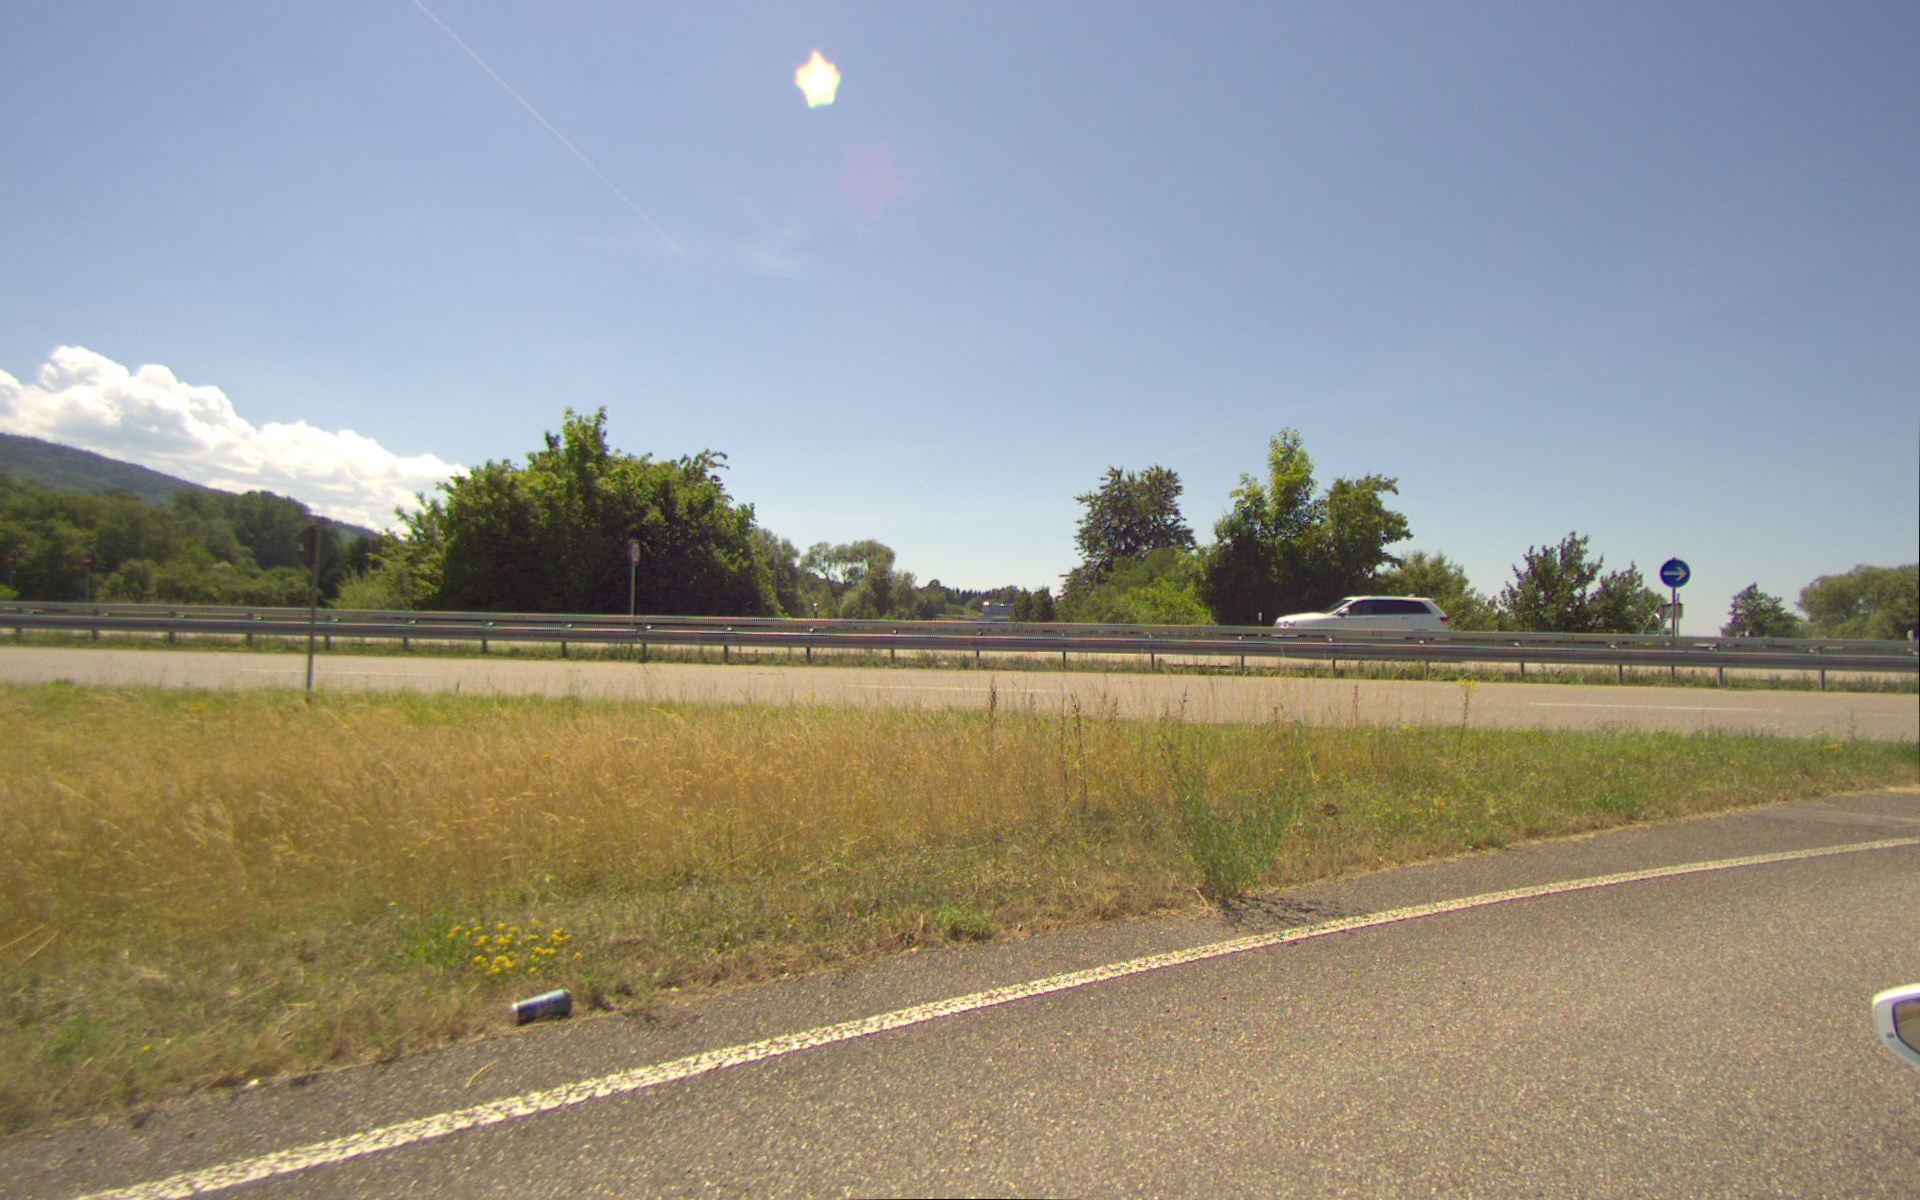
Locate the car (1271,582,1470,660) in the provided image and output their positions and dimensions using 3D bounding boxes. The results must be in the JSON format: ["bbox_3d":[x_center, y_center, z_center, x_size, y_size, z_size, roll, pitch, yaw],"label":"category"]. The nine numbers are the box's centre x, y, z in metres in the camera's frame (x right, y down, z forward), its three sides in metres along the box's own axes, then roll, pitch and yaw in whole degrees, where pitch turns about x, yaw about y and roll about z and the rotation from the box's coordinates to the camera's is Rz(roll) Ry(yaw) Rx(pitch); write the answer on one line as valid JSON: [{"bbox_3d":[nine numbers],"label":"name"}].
[{"bbox_3d":[11.570,0.579,28.616,4.813,1.918,2.001,2,0,6],"label":"car"}]
